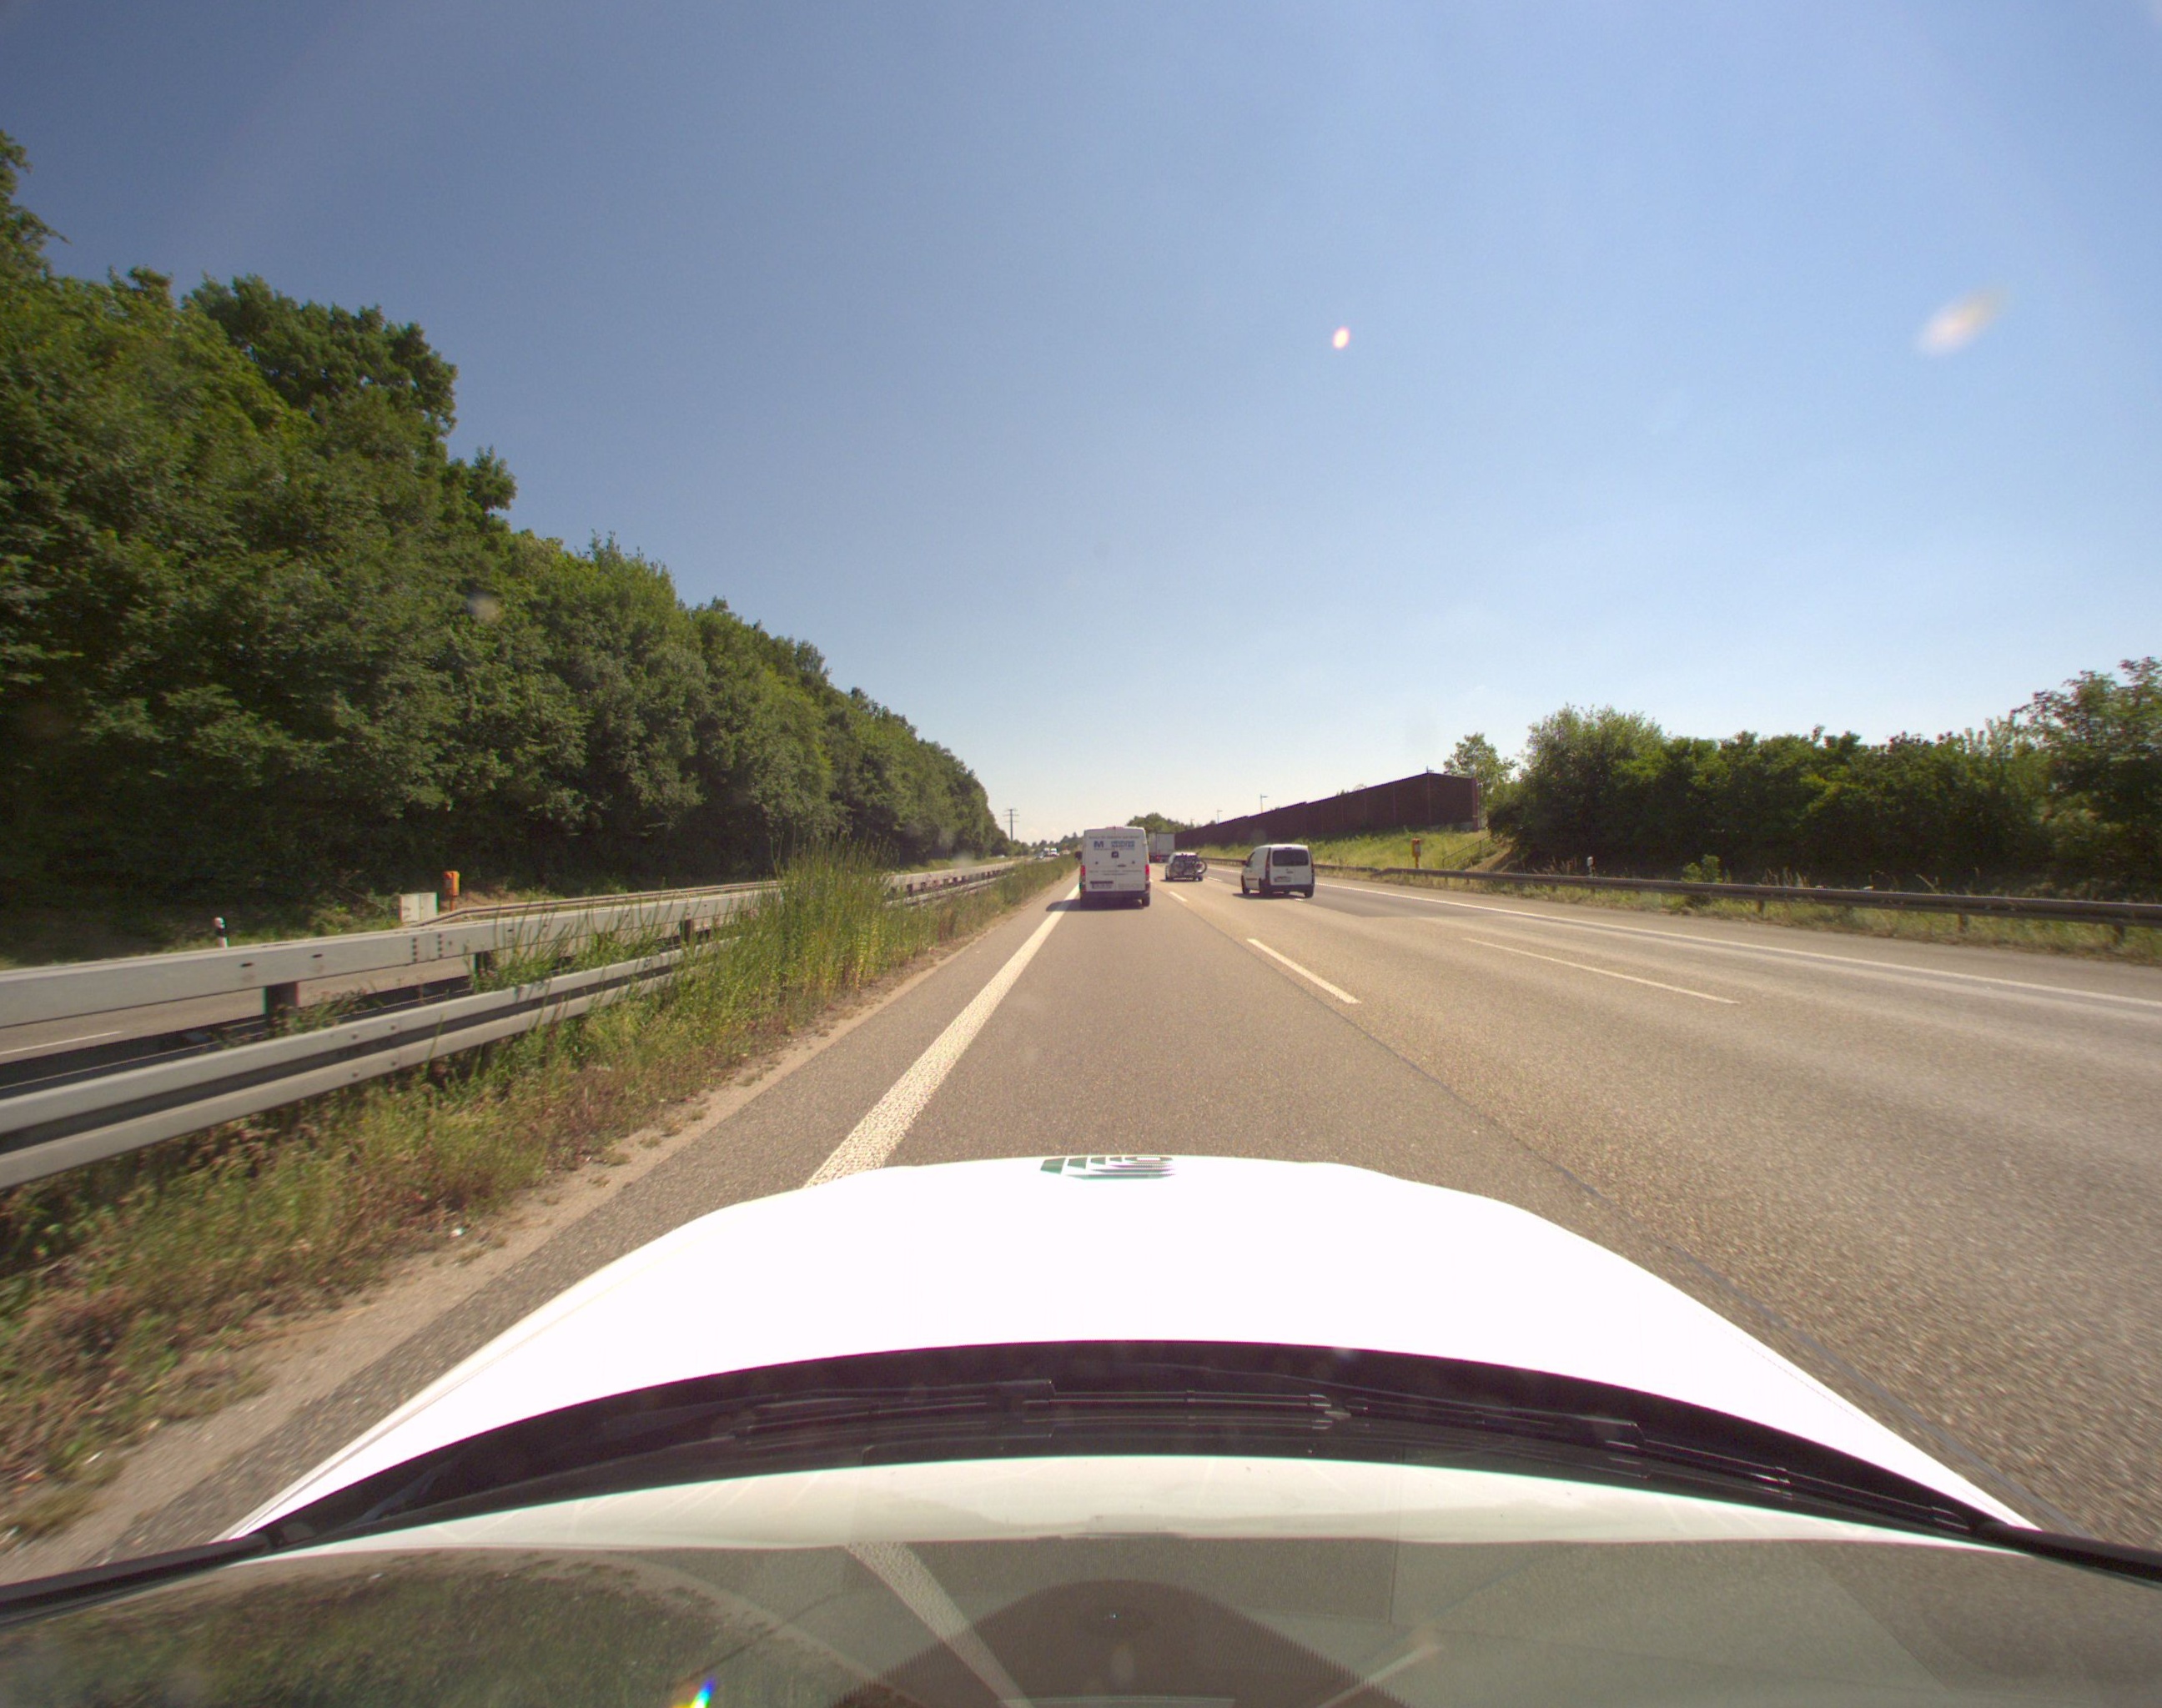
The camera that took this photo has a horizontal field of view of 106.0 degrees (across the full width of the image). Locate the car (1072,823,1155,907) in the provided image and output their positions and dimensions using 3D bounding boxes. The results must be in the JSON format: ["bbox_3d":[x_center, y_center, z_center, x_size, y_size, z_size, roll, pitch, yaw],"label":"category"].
[{"bbox_3d":[0.839,0.326,24.717,2.176,2.254,5.359,0,-1,-1],"label":"car"}]

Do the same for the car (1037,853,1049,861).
[{"bbox_3d":[-7.863,0.611,169.822,1.986,1.519,4.723,-3,0,1],"label":"car"}]

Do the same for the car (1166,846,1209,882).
[{"bbox_3d":[5.660,0.537,43.743,1.967,1.733,4.092,-2,-1,3],"label":"car"}]

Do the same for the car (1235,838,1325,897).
[{"bbox_3d":[6.879,0.473,28.596,1.946,1.838,4.174,-2,-1,-3],"label":"car"}]

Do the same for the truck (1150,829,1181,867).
[{"bbox_3d":[11.662,-0.710,113.734,3.772,5.000,12.530,0,-1,4],"label":"truck"}]
